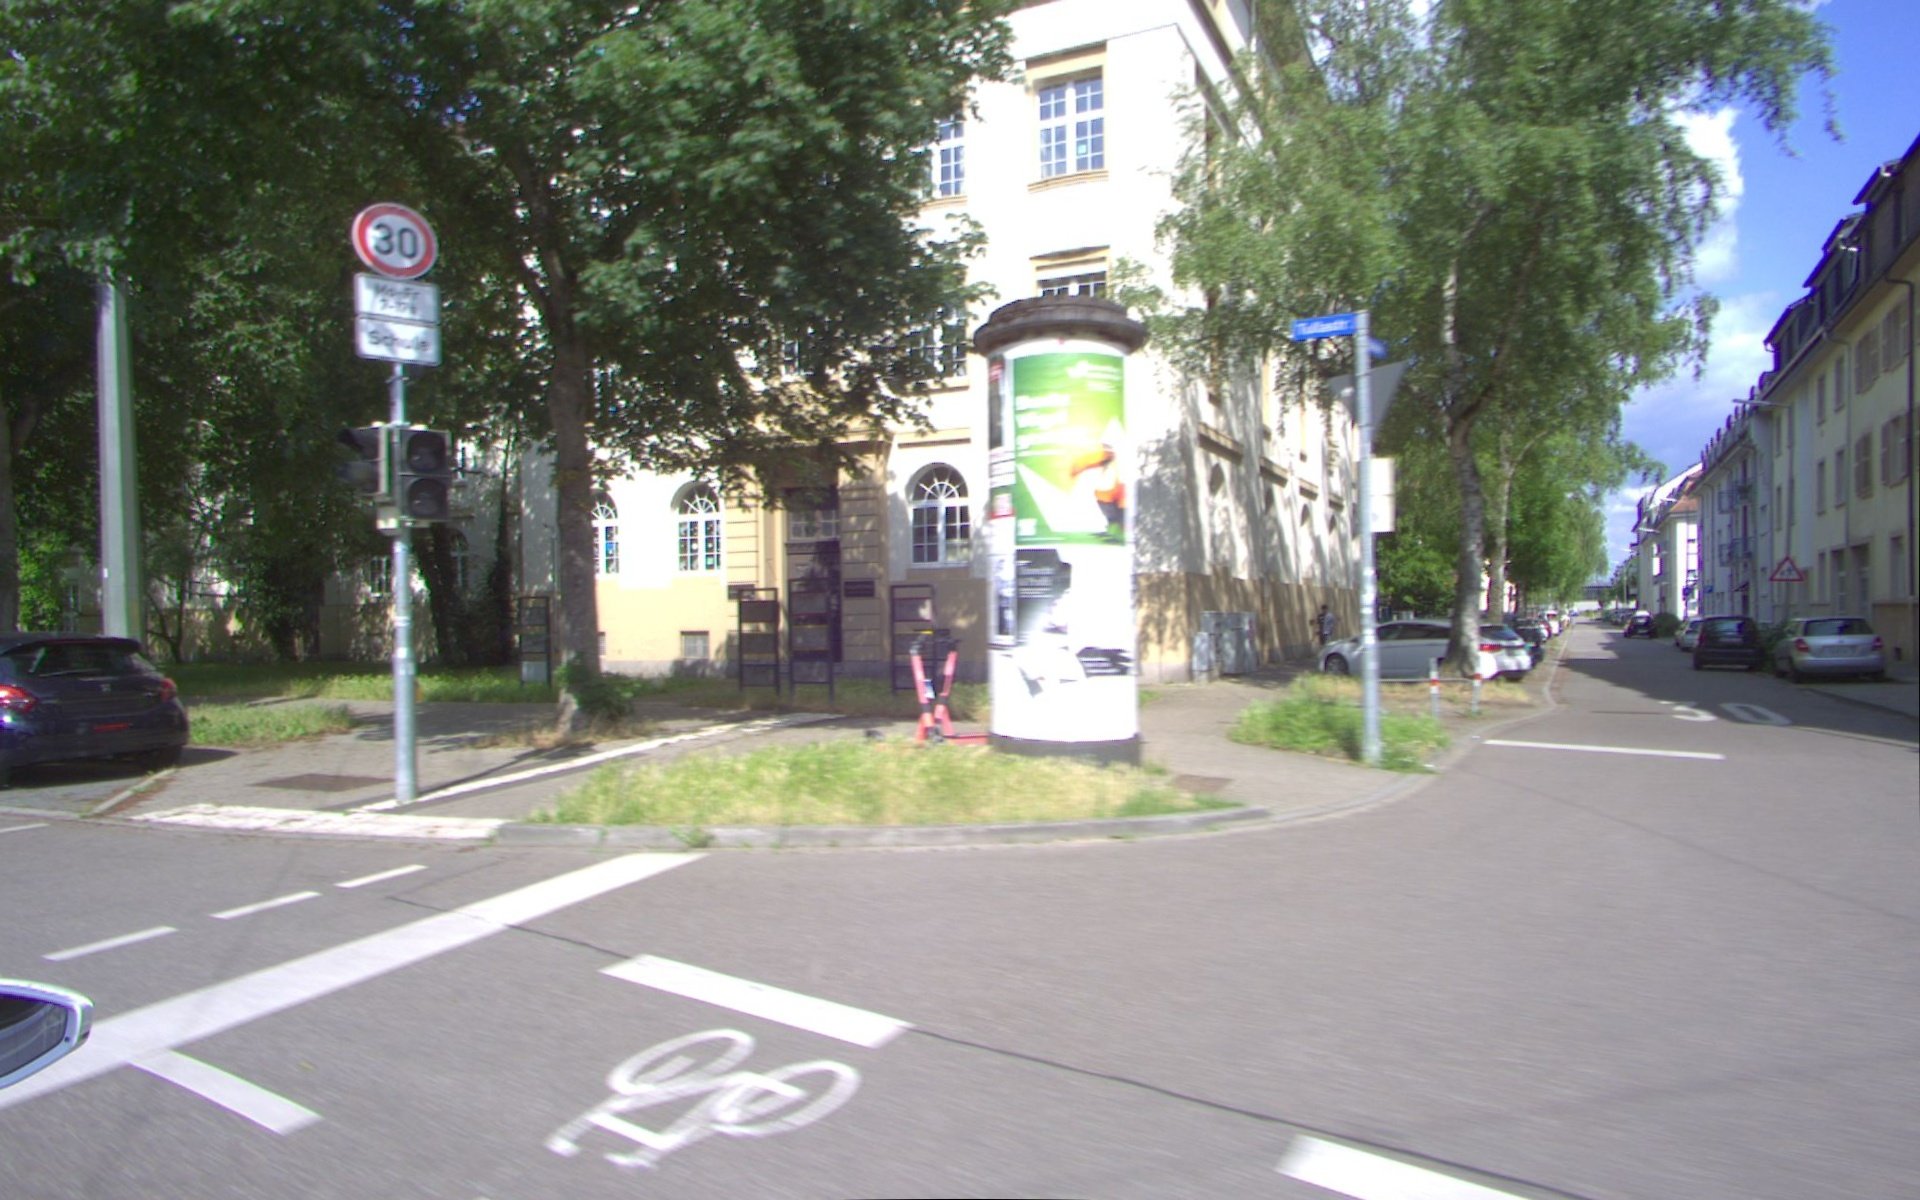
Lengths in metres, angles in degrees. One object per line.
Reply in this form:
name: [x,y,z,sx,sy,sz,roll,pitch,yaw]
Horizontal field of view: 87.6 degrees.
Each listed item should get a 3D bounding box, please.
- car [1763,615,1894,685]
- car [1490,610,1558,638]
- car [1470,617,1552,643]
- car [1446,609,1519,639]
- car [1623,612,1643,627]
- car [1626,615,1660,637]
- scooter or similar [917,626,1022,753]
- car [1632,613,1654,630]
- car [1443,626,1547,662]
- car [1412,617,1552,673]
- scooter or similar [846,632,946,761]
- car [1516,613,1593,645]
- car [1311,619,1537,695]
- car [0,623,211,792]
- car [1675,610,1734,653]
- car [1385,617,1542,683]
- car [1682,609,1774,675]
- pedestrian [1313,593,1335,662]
car: [20.206,1.133,23.439,1.599,1.477,3.579,-3,-2,30]
car: [35.090,1.466,62.376,1.393,1.686,3.489,0,-1,-33]
car: [30.802,1.657,56.051,1.685,1.416,3.723,0,-1,-27]
car: [26.011,1.187,49.891,2.966,1.435,1.219,-1,-1,45]
car: [67.314,1.913,100.170,1.472,1.486,3.280,-1,-1,32]
car: [45.833,1.730,67.281,1.712,1.486,3.630,-1,-1,32]
scooter or similar: [0.102,0.907,10.451,1.012,1.247,0.435,0,0,-31]
car: [60.564,1.863,88.847,1.472,1.486,3.280,-1,-1,32]
car: [18.589,1.506,34.876,1.266,1.143,2.980,0,-1,-32]
car: [14.794,1.247,28.509,1.569,1.475,3.254,0,-1,-26]
scooter or similar: [-0.653,0.926,9.925,0.303,1.205,1.150,-1,0,-45]
car: [28.156,1.362,47.474,2.966,1.435,1.219,-1,-1,45]
car: [10.235,1.184,22.458,1.599,1.505,4.519,0,-1,-31]
car: [-9.967,1.004,10.370,3.837,1.452,1.767,-1,0,21]
car: [32.240,1.340,43.452,1.712,1.761,3.630,-1,-1,32]
car: [12.197,1.171,24.423,1.363,1.475,3.253,0,-1,-27]
car: [22.073,1.153,28.906,1.712,1.761,3.631,1,0,32]
pedestrian: [10.907,0.832,29.983,0.495,2.040,0.625,0,0,30]
